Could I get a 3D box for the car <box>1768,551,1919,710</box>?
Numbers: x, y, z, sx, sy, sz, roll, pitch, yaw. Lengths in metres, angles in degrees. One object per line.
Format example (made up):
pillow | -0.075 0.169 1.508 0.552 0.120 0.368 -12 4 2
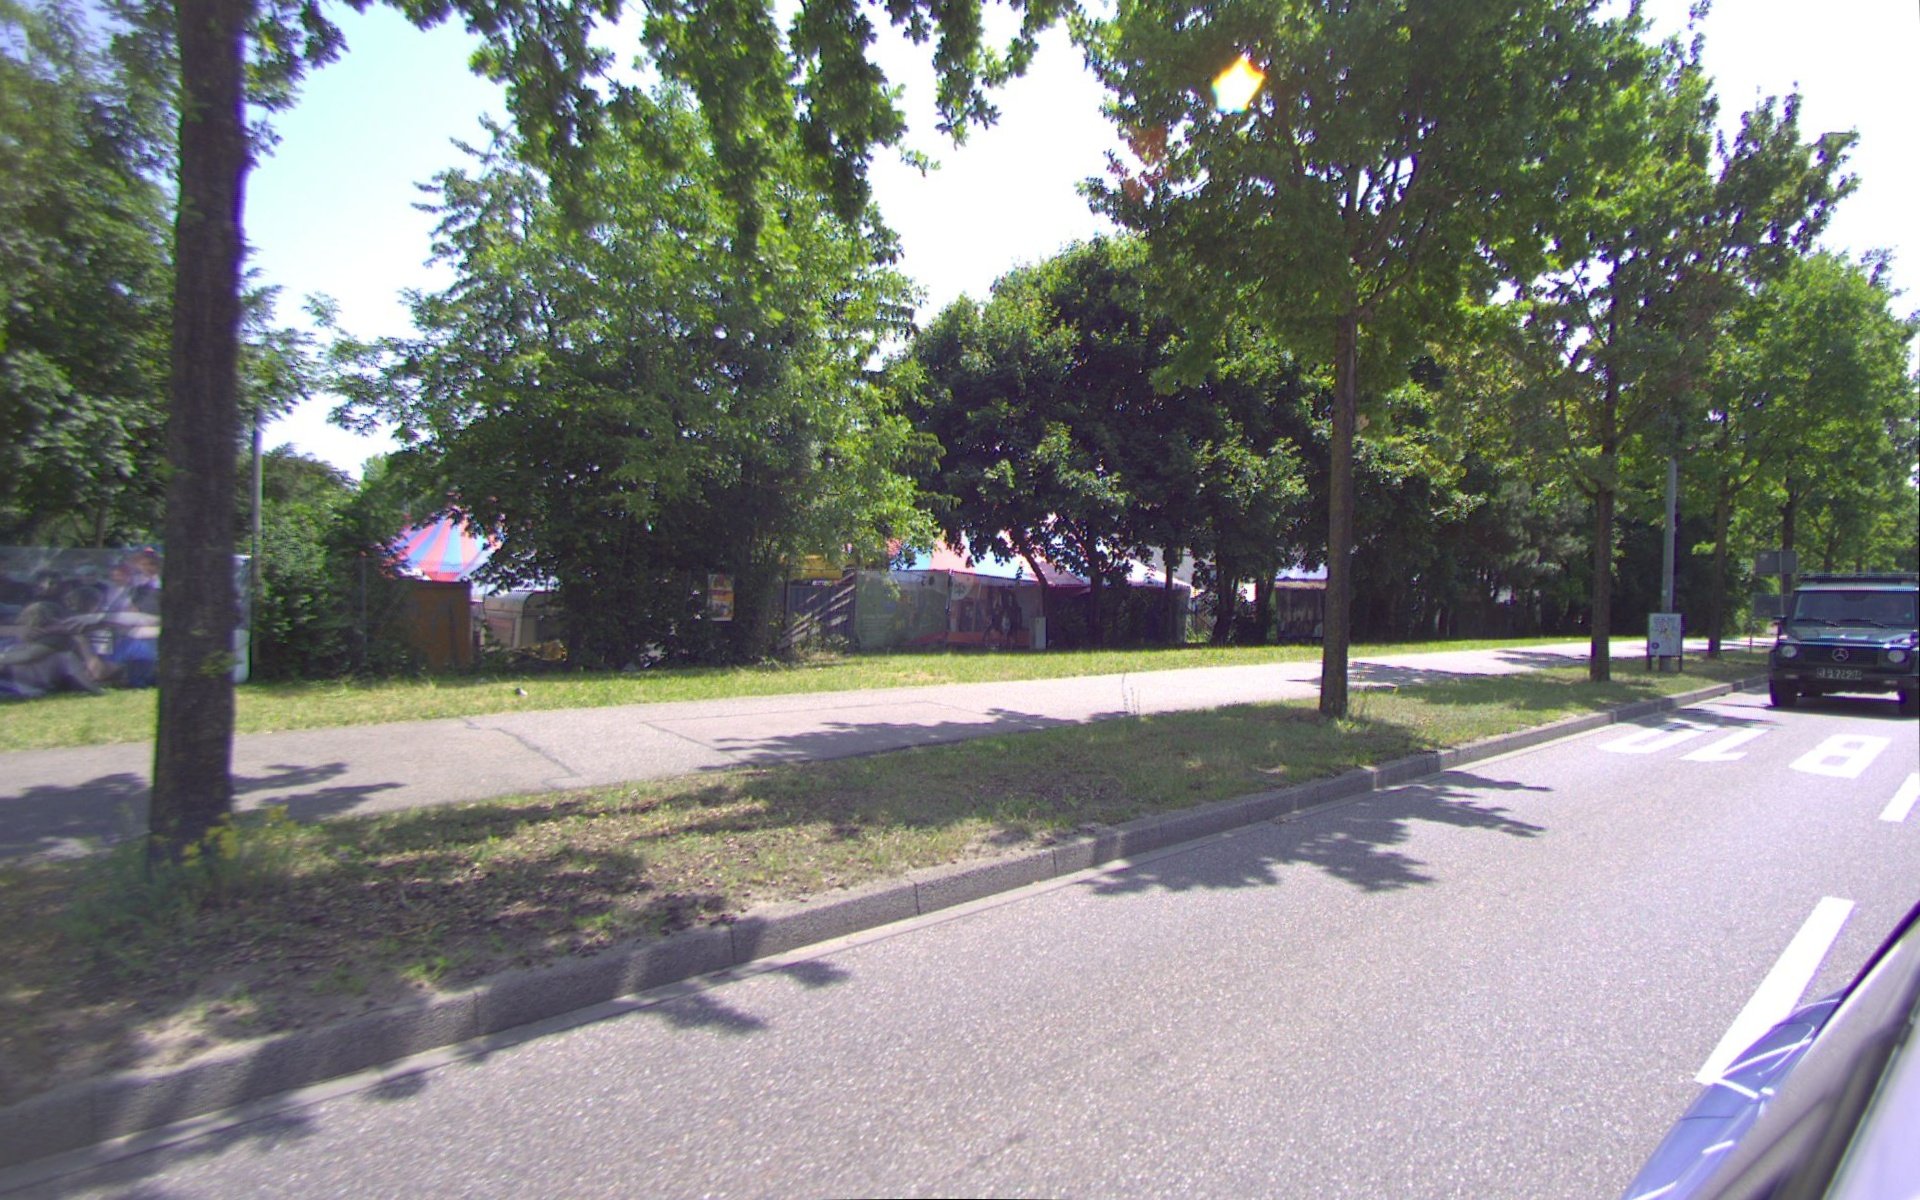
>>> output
car | 14.370 0.423 16.022 4.481 2.181 1.839 1 1 -43
